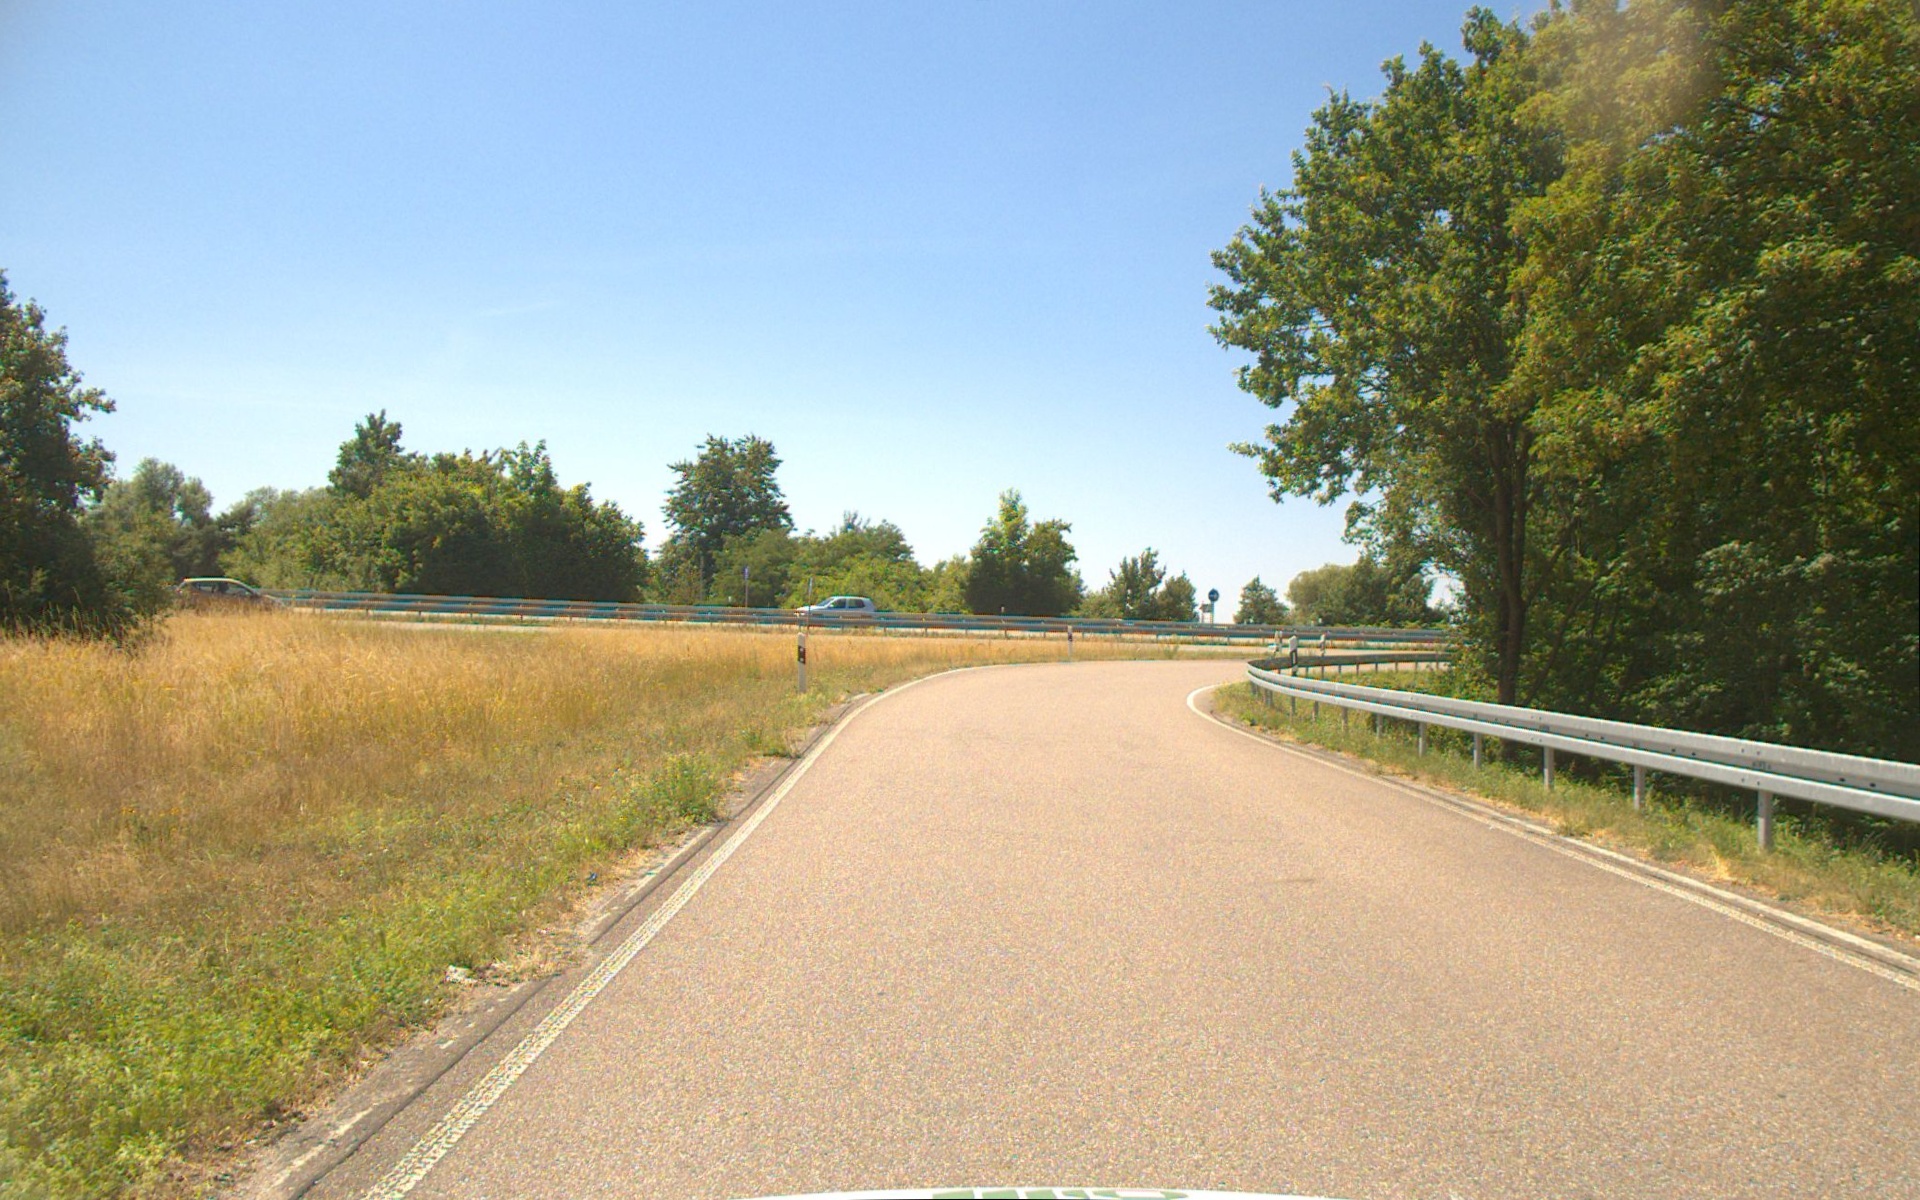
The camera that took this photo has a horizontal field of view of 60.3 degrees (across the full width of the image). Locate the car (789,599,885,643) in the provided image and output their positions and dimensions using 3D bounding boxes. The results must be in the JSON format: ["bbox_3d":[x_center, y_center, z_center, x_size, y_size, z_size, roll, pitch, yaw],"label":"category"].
[{"bbox_3d":[-5.946,1.032,79.891,4.160,1.821,1.983,4,-3,-26],"label":"car"}]

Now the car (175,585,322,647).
[{"bbox_3d":[-24.282,0.571,56.613,4.451,1.821,1.986,4,-3,-22],"label":"car"}]
